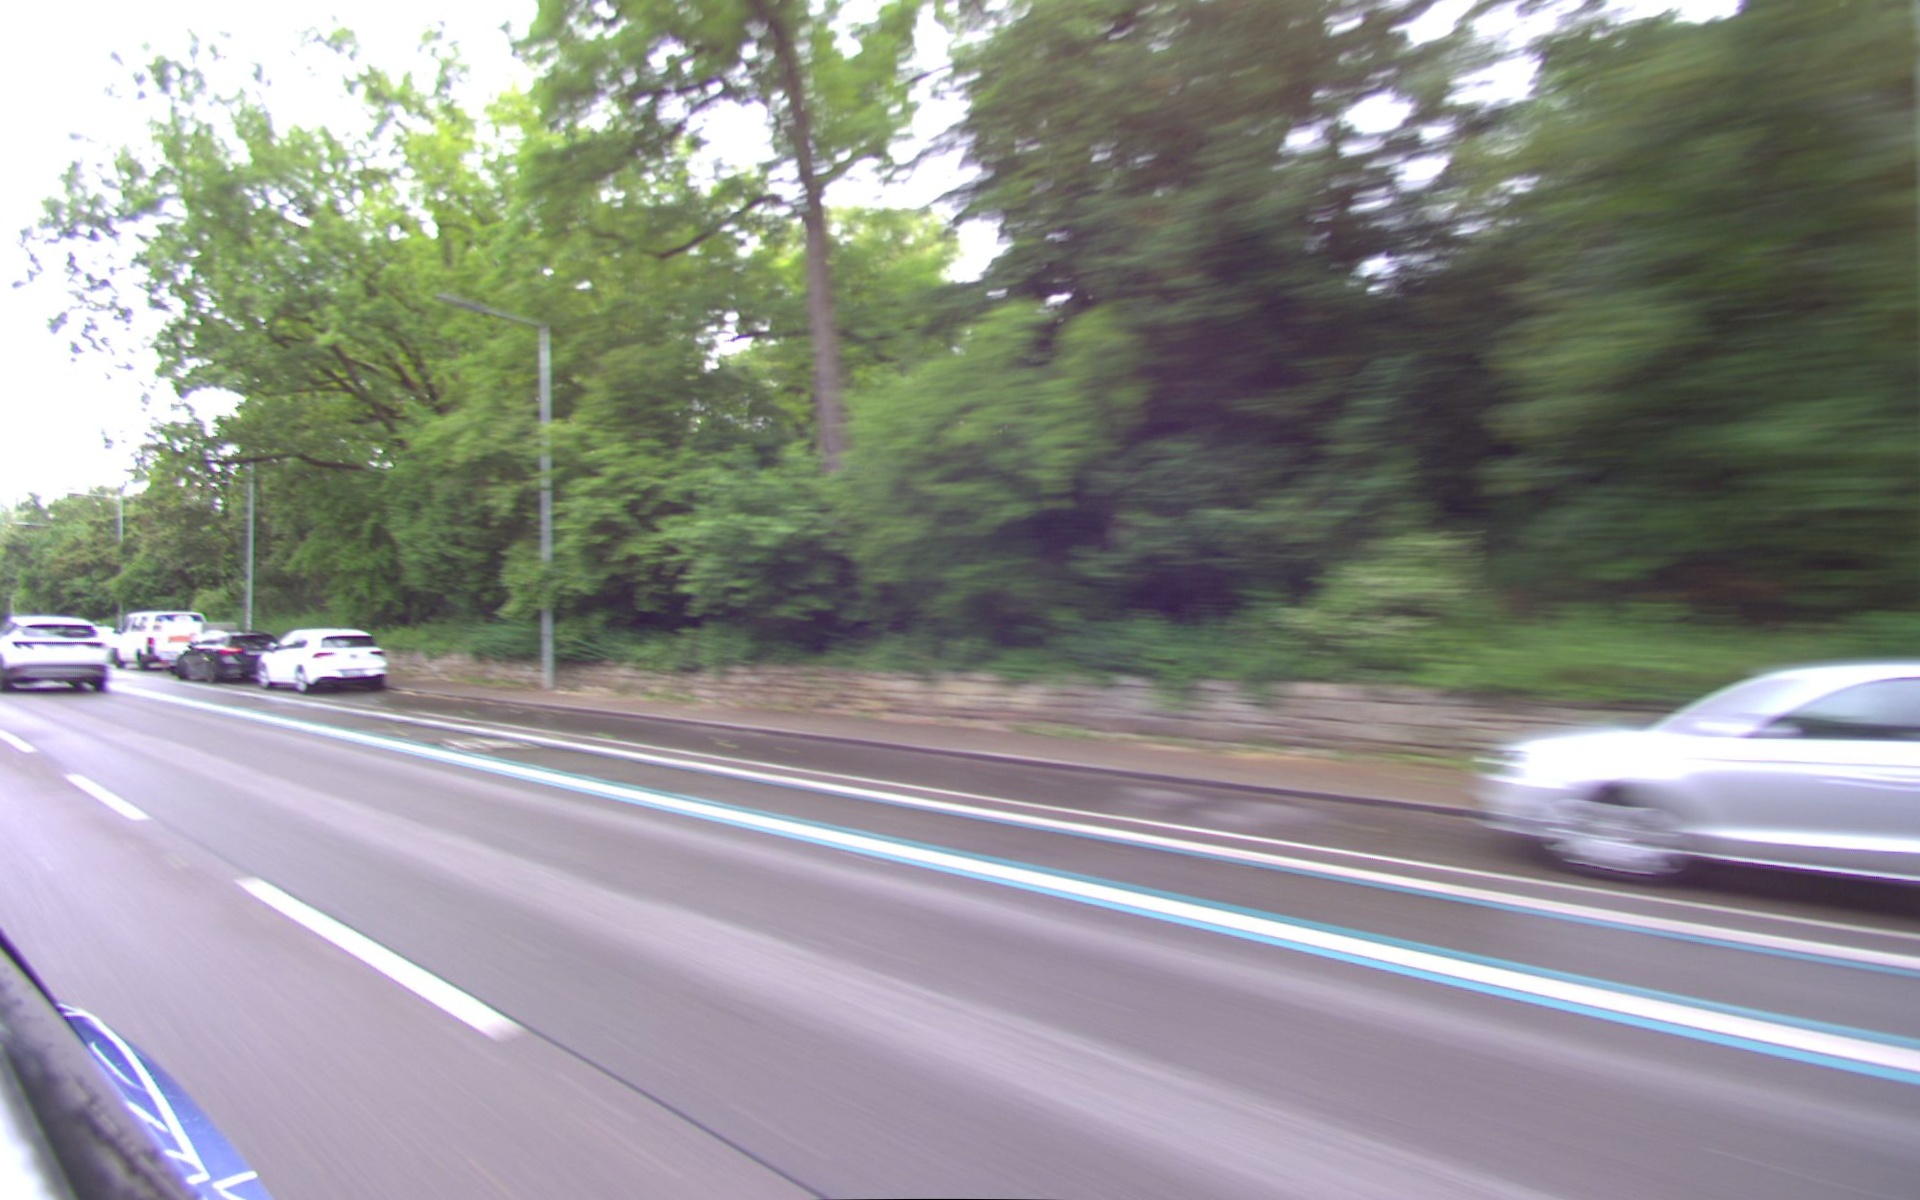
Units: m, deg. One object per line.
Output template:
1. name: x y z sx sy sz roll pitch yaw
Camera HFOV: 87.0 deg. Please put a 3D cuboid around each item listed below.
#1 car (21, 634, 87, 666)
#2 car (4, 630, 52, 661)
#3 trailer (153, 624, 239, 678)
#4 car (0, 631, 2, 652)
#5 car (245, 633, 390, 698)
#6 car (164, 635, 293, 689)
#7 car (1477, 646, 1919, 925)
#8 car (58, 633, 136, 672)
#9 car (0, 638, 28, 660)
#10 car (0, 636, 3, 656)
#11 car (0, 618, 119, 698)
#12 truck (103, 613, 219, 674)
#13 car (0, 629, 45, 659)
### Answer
1. car: -45.644 2.498 50.951 4.550 1.486 1.877 -2 -3 40
2. car: -49.950 2.429 54.209 2.858 1.606 1.507 -2 -3 40
3. trailer: -24.431 1.614 32.441 1.329 1.670 2.271 0 -2 -11
4. car: -68.568 2.904 70.901 3.771 1.446 1.802 -2 -3 41
5. car: -15.726 1.558 24.699 4.352 1.446 1.737 -2 -3 40
6. car: -20.782 1.698 28.681 4.439 1.409 1.803 -2 -2 38
7. car: 5.529 1.013 6.053 4.026 1.416 1.672 -2 -2 42
8. car: -36.230 2.176 42.437 4.751 1.509 1.787 -1 -3 41
9. car: -57.167 2.939 60.706 3.595 1.303 1.494 -2 -3 41
10. car: -65.145 3.089 67.311 4.204 1.303 1.802 -2 -3 41
11. car: -20.922 1.290 23.083 4.442 1.651 1.933 -2 -4 41
12. truck: -28.414 1.527 35.936 5.152 2.029 2.073 -2 -2 38
13. car: -53.209 2.474 57.187 3.991 1.600 1.795 -2 -3 42
